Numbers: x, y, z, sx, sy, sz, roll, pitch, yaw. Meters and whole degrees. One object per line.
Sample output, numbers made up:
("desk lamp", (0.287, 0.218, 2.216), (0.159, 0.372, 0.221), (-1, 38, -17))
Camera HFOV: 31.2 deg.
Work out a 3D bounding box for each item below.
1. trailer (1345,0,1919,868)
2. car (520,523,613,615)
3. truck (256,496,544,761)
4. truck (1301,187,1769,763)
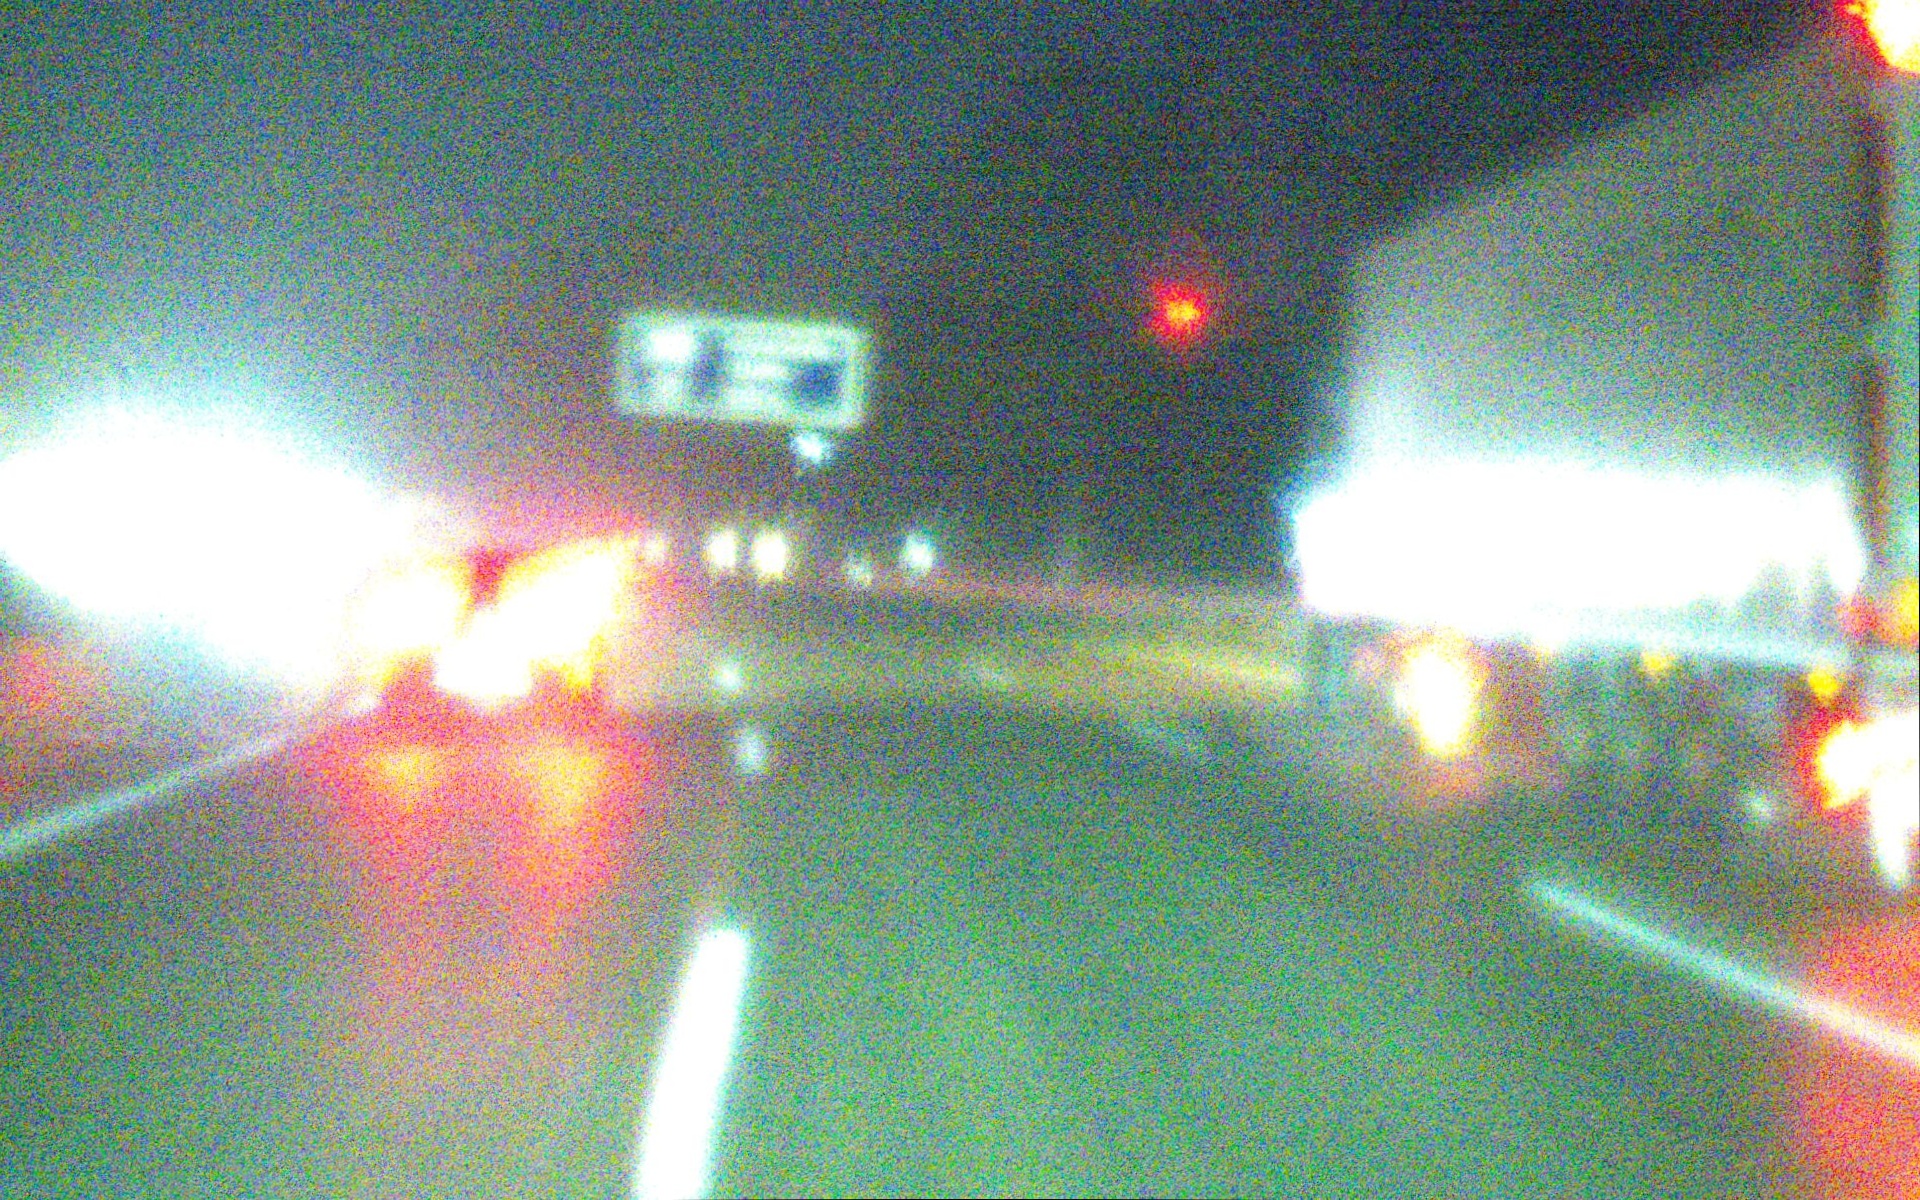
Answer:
("trailer", (4.842, -0.982, 21.728), (2.739, 4.233, 13.372), (-1, 0, -2))
("car", (-9.720, -0.784, 85.154), (1.993, 2.006, 4.001), (4, 2, -4))
("truck", (-5.104, 0.145, 32.190), (2.144, 2.070, 6.605), (2, 2, -5))
("truck", (4.498, -0.966, 27.936), (2.710, 4.227, 5.293), (0, 1, -2))
